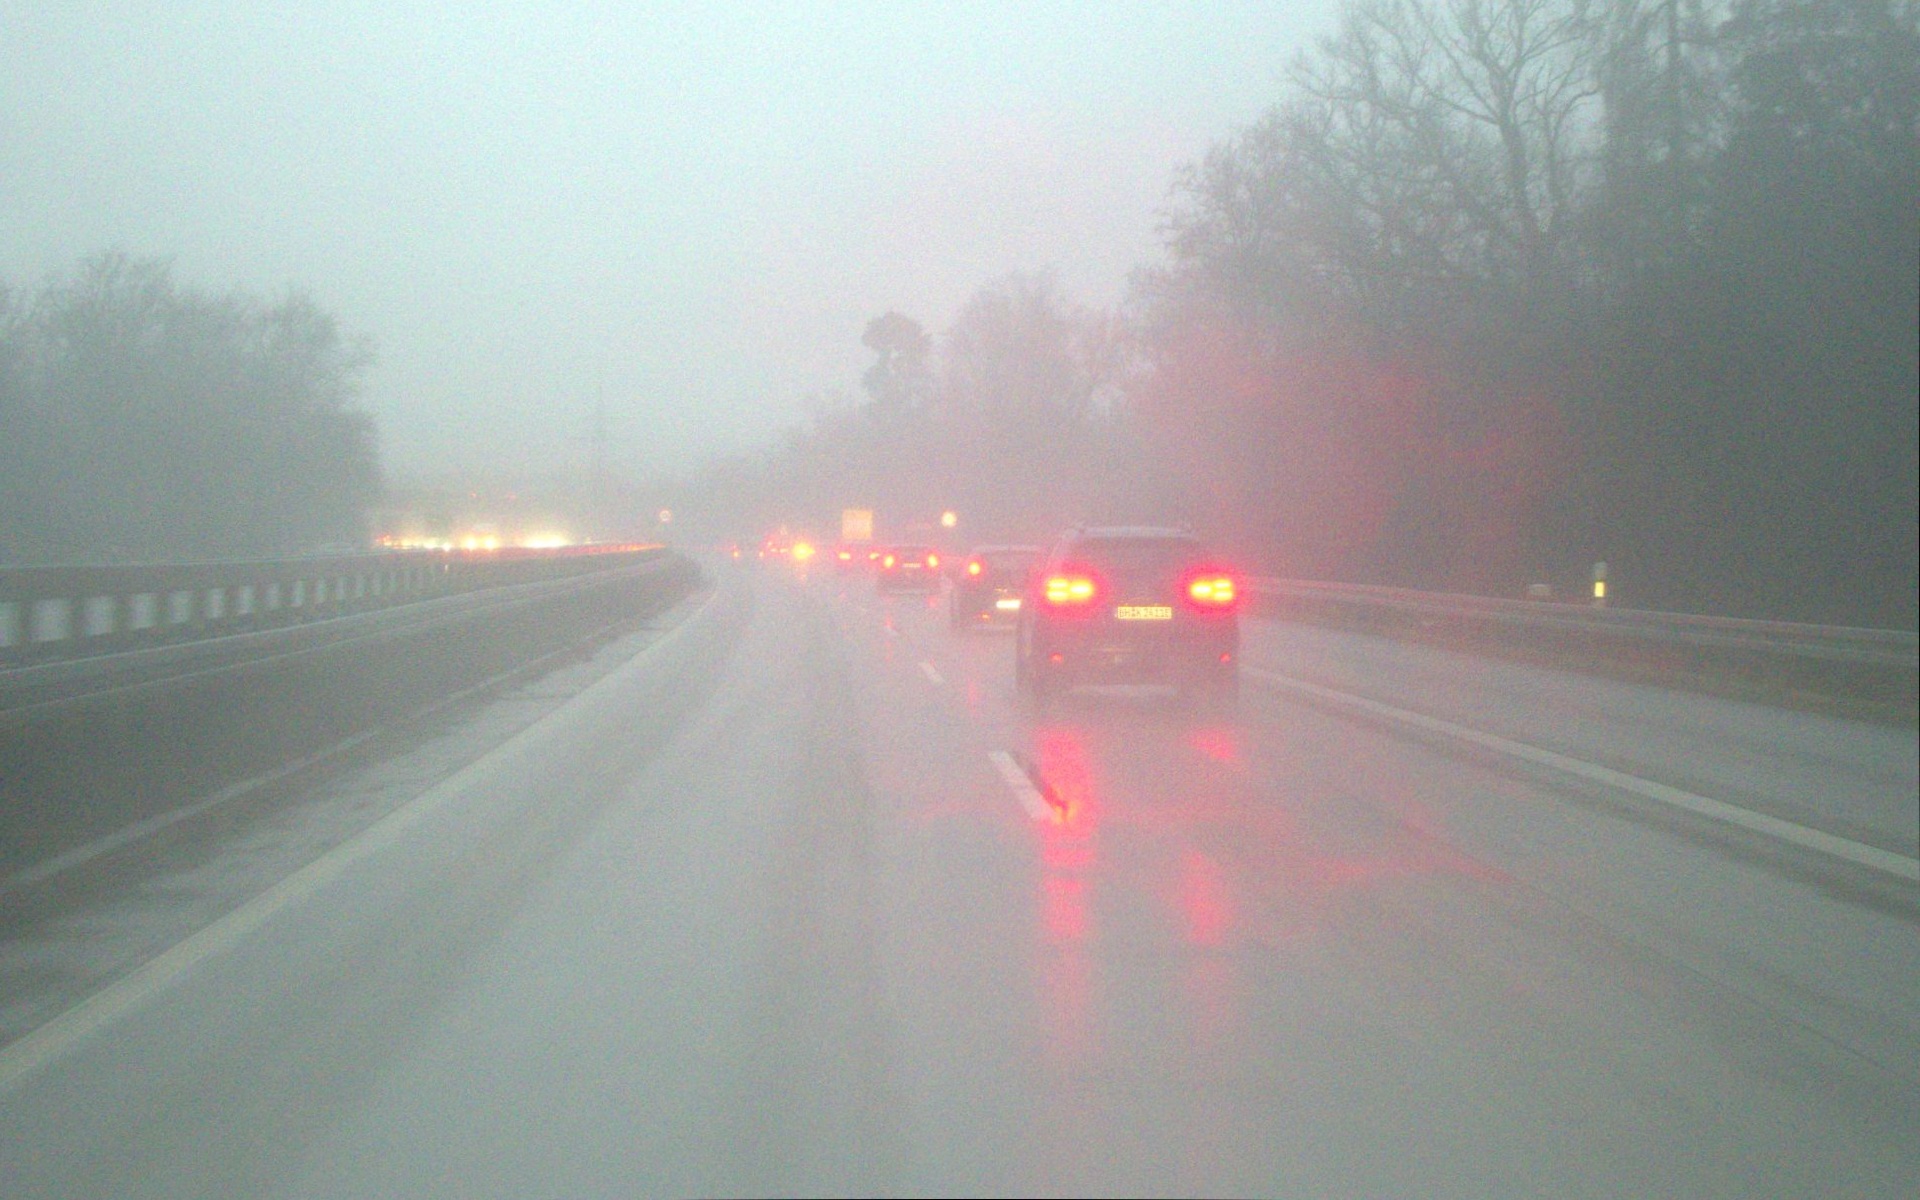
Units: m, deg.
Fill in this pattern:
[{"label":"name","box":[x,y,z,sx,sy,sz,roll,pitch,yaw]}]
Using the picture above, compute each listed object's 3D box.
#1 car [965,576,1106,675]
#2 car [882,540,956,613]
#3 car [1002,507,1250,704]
[{"label":"car","box":[1.146,0.370,54.003,1.993,1.415,4.000,2,0,-1]},{"label":"car","box":[-1.182,-0.670,97.553,1.993,2.007,4.000,0,1,-2]},{"label":"car","box":[1.478,0.028,31.990,1.992,1.709,3.830,0,1,-2]}]
